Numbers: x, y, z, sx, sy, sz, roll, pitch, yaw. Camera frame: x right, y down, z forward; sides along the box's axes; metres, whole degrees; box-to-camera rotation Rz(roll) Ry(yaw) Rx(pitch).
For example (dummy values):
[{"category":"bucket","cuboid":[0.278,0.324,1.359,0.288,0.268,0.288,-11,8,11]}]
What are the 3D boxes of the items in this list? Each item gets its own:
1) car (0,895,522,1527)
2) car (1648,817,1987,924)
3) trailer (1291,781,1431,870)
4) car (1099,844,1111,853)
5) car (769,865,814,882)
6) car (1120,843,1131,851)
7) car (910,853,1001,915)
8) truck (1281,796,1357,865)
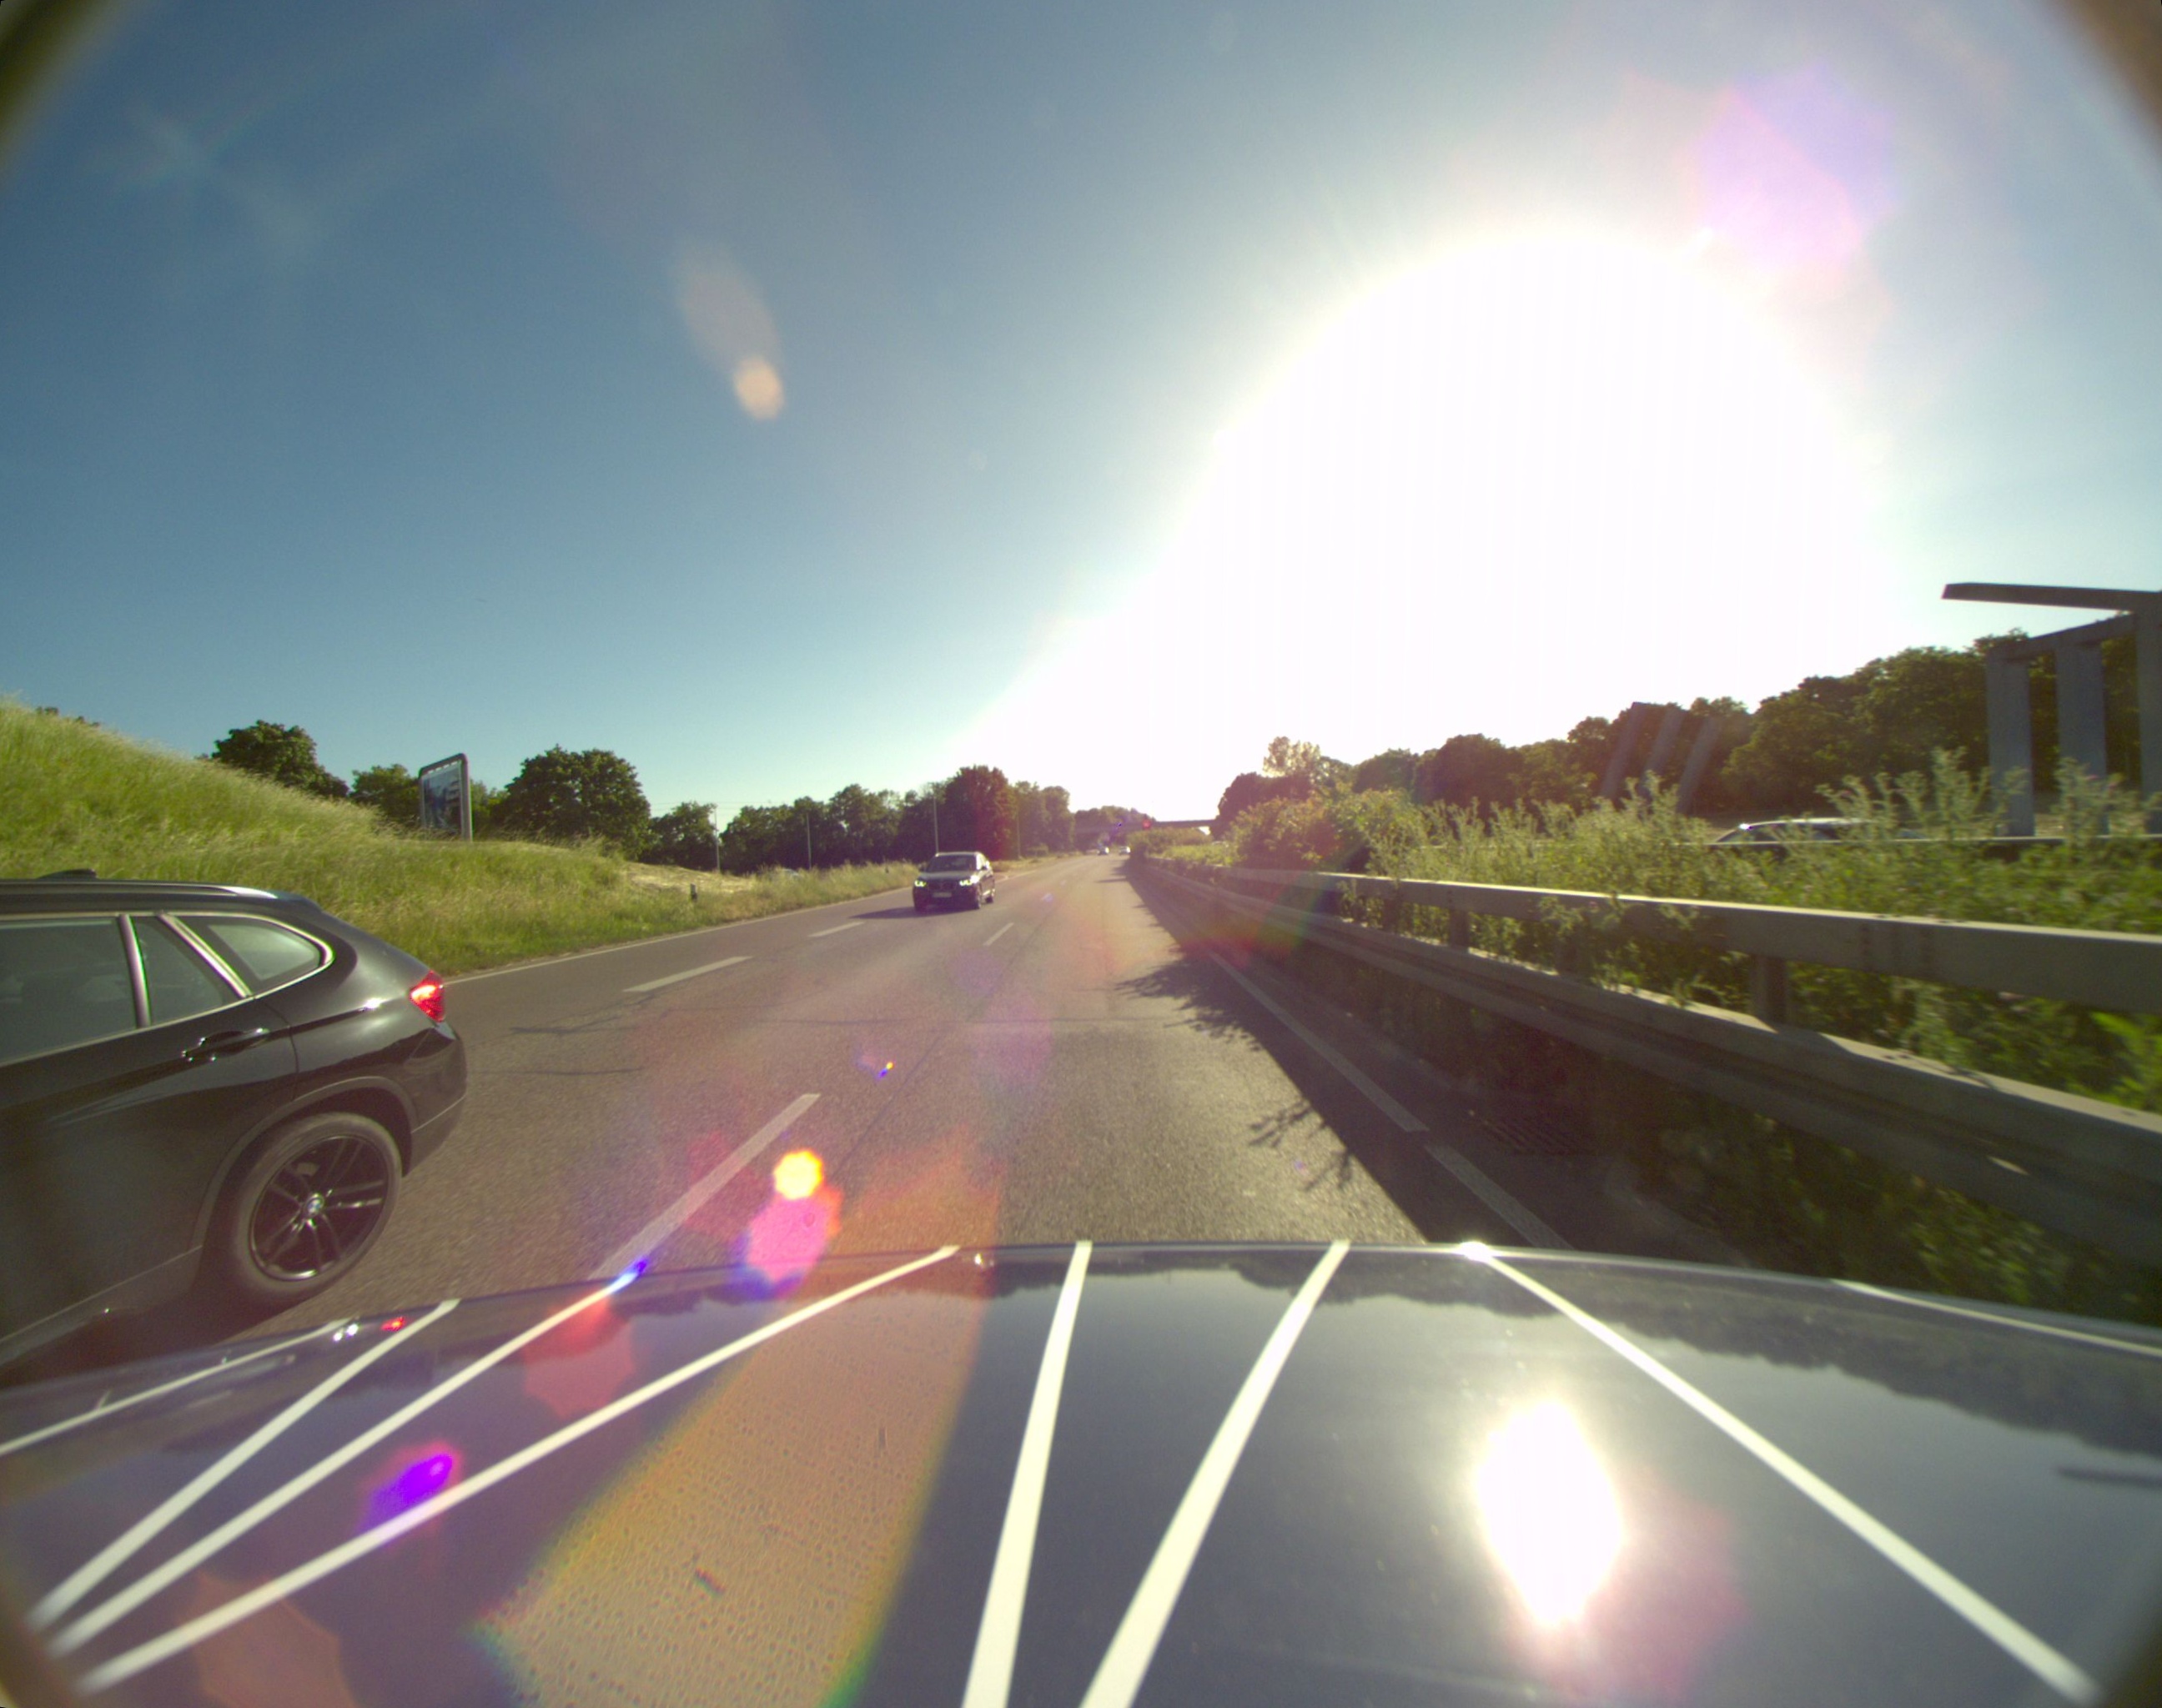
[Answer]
[{"category":"car","cuboid":[-3.627,0.986,1.395,1.703,1.497,4.579,-1,1,1]},{"category":"car","cuboid":[12.015,0.218,12.872,1.765,1.435,4.110,-3,0,1]},{"category":"trailer","cuboid":[13.582,-1.247,38.354,2.783,3.636,12.205,-3,0,2]},{"category":"car","cuboid":[4.266,-1.017,135.551,1.682,1.412,3.671,-3,1,7]},{"category":"car","cuboid":[-30.007,2.034,78.751,3.992,1.681,1.871,-1,1,18]},{"category":"car","cuboid":[7.690,-1.216,131.383,1.725,1.412,3.670,-3,1,5]},{"category":"car","cuboid":[-3.609,0.797,22.685,1.759,1.564,4.520,-2,1,2]},{"category":"truck","cuboid":[13.761,-1.294,44.384,2.783,3.636,5.324,-3,1,2]}]
